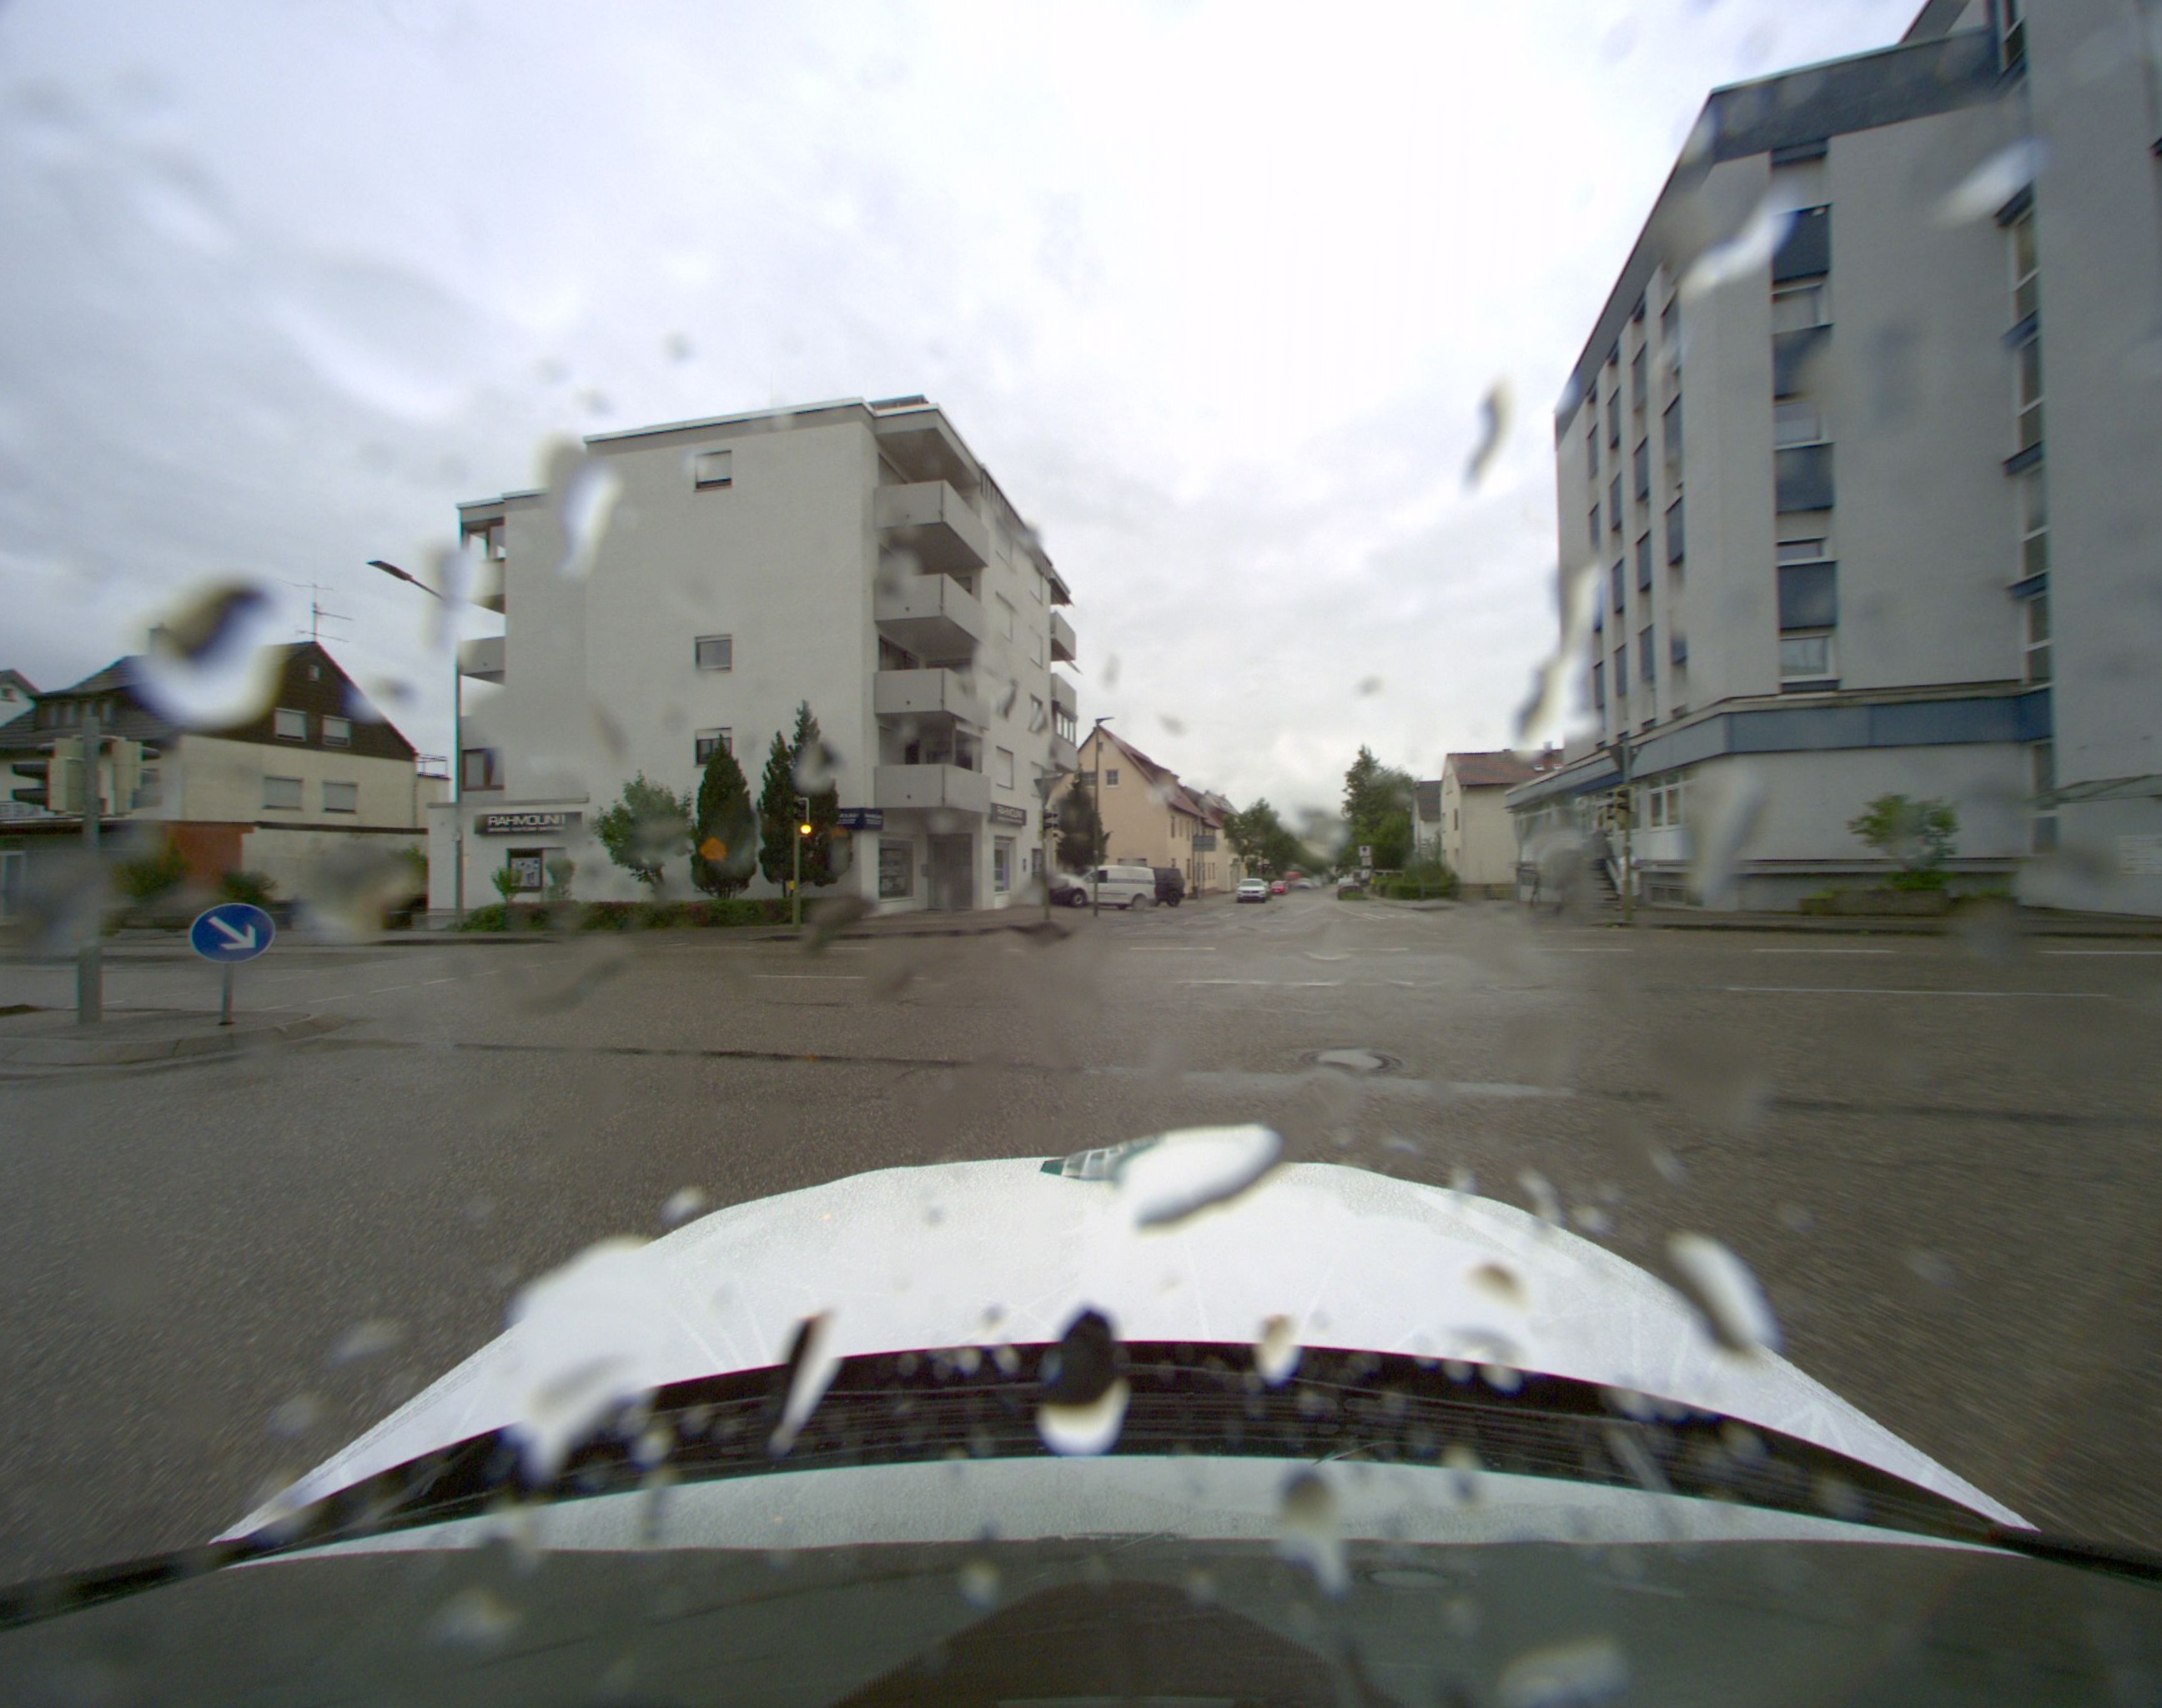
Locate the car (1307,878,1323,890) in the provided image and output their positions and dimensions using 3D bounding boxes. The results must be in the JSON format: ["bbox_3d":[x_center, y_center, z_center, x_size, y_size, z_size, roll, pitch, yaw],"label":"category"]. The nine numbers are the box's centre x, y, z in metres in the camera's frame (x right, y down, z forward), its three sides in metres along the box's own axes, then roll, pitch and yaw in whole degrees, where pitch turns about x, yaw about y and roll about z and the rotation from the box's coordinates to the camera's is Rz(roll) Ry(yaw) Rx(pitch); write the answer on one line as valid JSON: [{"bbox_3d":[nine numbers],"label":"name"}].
[{"bbox_3d":[38.530,4.933,134.145,1.976,1.706,4.019,-2,-5,22],"label":"car"}]

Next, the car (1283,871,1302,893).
[{"bbox_3d":[28.214,3.720,108.484,2.200,2.769,5.746,-2,-3,15],"label":"car"}]

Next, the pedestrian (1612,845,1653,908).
[{"bbox_3d":[14.826,0.608,21.904,0.649,1.652,0.648,-2,-5,15],"label":"pedestrian"}]

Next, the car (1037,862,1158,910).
[{"bbox_3d":[0.714,1.365,33.958,4.735,1.779,1.758,3,-5,-24],"label":"car"}]

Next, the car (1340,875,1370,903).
[{"bbox_3d":[21.416,2.757,63.588,1.977,2.014,4.018,-2,-5,20],"label":"car"}]

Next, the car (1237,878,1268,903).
[{"bbox_3d":[11.026,2.340,52.247,1.755,1.523,4.014,-2,-3,13],"label":"car"}]

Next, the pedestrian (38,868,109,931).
[{"bbox_3d":[-26.064,1.175,21.079,0.983,1.568,0.758,-2,-3,14],"label":"pedestrian"}]

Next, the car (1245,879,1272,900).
[{"bbox_3d":[13.821,2.735,63.155,1.754,1.519,4.210,-2,-3,16],"label":"car"}]

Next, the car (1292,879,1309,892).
[{"bbox_3d":[32.287,4.681,119.625,1.977,1.684,4.018,-2,-5,20],"label":"car"}]

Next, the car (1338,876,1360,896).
[{"bbox_3d":[27.973,3.378,84.874,1.977,2.014,4.019,-3,-3,20],"label":"car"}]

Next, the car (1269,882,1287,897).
[{"bbox_3d":[21.115,3.843,87.369,1.755,1.519,4.012,-2,-3,12],"label":"car"}]

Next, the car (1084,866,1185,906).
[{"bbox_3d":[2.671,1.587,40.712,4.628,1.889,1.947,0,-3,-24],"label":"car"}]

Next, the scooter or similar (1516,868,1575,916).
[{"bbox_3d":[12.238,1.025,21.485,1.053,1.228,0.802,-1,-5,6],"label":"scooter or similar"}]

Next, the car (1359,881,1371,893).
[{"bbox_3d":[51.732,6.029,148.231,1.977,2.014,4.019,-3,-3,20],"label":"car"}]
